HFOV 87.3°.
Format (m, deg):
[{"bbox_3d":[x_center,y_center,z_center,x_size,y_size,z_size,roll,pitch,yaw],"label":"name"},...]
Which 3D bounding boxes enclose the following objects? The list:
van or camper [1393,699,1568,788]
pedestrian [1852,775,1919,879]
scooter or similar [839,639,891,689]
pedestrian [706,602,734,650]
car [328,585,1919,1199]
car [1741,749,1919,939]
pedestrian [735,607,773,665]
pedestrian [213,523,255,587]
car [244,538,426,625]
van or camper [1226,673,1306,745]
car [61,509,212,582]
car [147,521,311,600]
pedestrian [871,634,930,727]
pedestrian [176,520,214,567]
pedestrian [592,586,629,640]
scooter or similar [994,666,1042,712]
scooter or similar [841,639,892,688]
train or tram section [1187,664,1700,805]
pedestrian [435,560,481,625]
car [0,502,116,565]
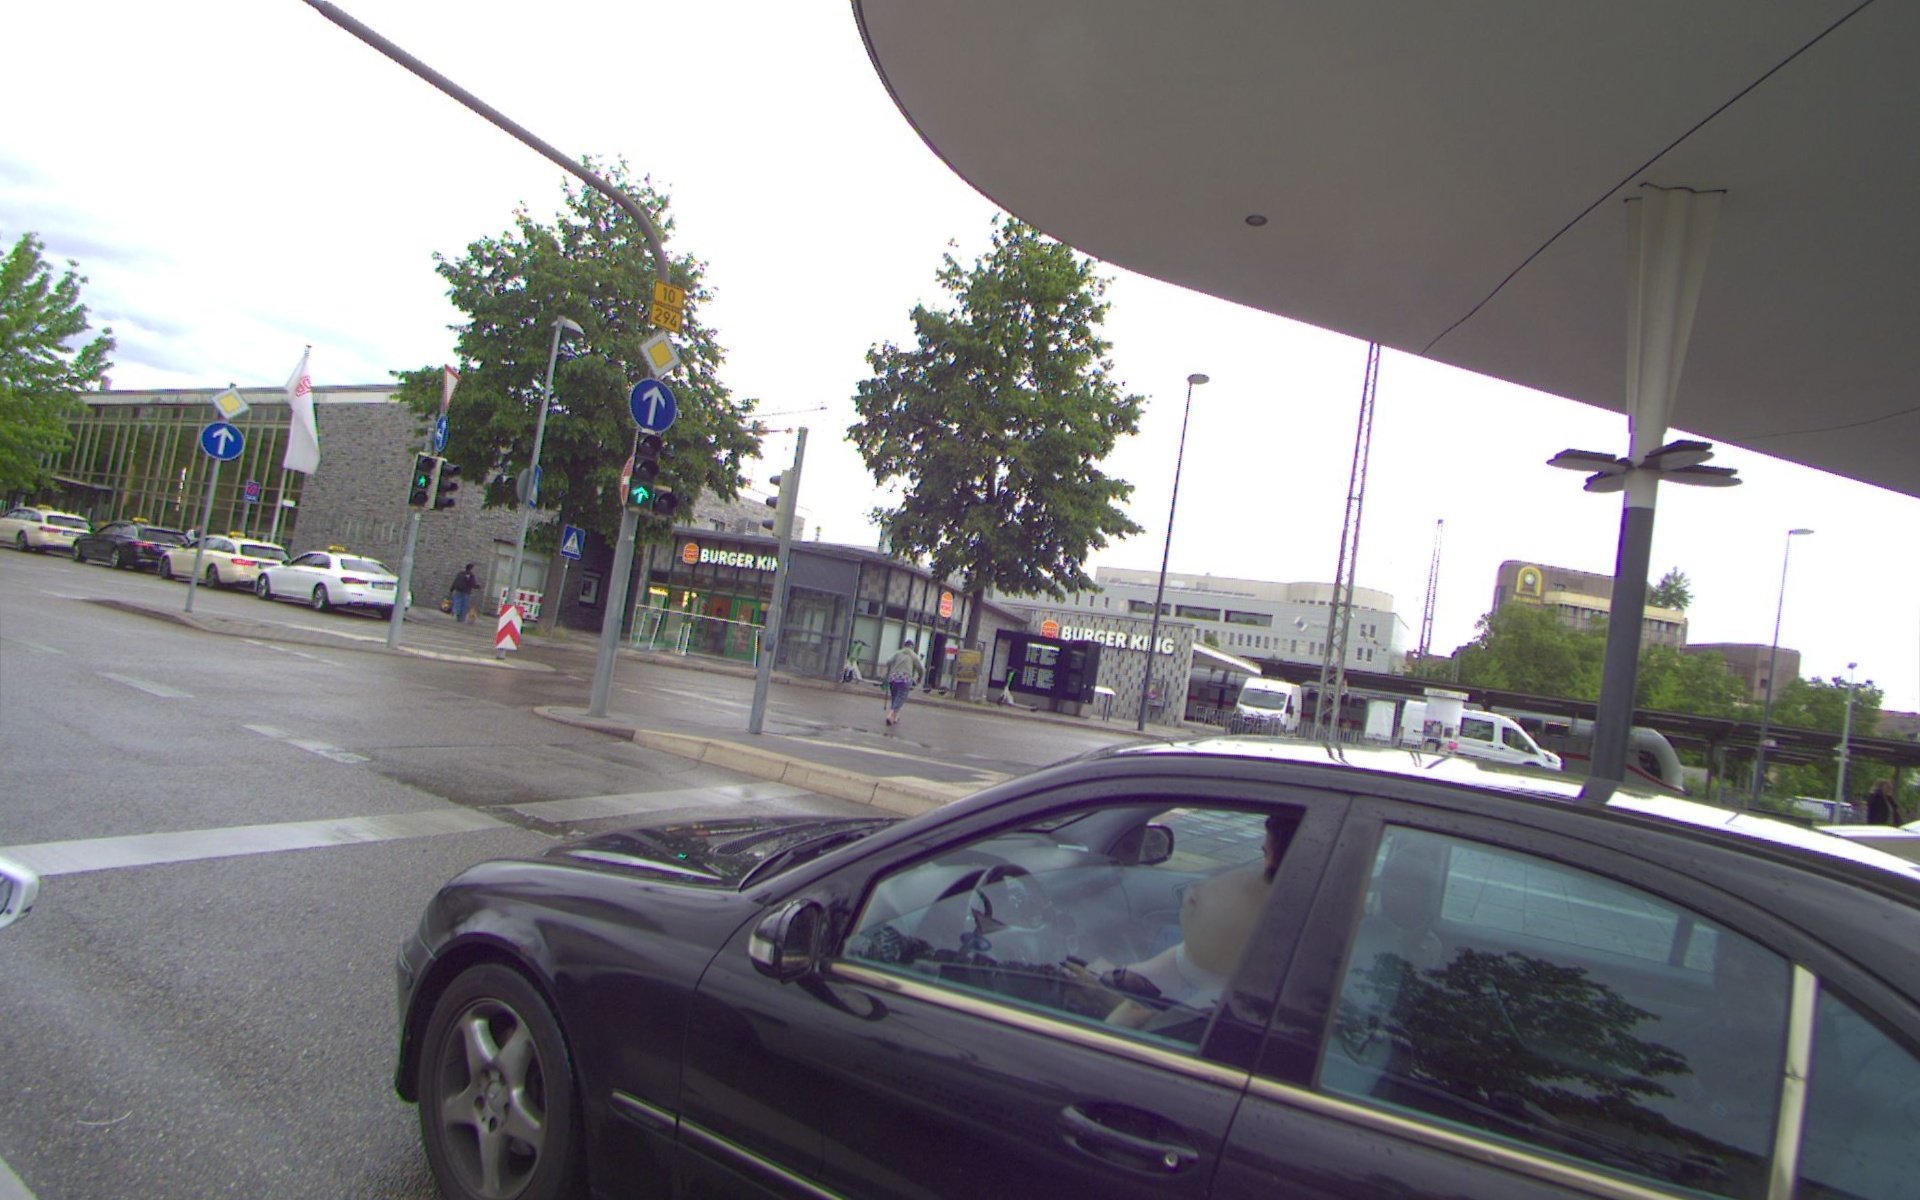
[{"bbox_3d":[20.359,5.558,39.490,5.767,2.461,1.997,6,-2,32],"label":"van or camper"},{"bbox_3d":[15.921,3.871,17.270,0.638,1.613,0.732,8,-1,-44],"label":"pedestrian"},{"bbox_3d":[-2.614,1.753,27.700,1.280,1.196,0.333,7,-1,-2],"label":"scooter or similar"},{"bbox_3d":[-8.843,0.944,37.002,0.713,1.686,0.794,7,-1,-20],"label":"pedestrian"},{"bbox_3d":[0.807,0.985,2.079,4.378,1.482,1.698,6,-2,32],"label":"car"},{"bbox_3d":[11.320,2.831,10.641,4.466,1.700,1.997,6,-2,32],"label":"car"},{"bbox_3d":[-6.518,1.132,31.778,0.763,1.690,0.645,11,6,9],"label":"pedestrian"},{"bbox_3d":[-26.701,-1.654,36.996,0.710,2.189,0.797,7,-1,25],"label":"pedestrian"},{"bbox_3d":[-15.979,-0.493,25.638,4.822,1.618,1.883,6,-2,32],"label":"car"},{"bbox_3d":[12.620,4.409,41.203,2.127,2.461,5.865,7,-2,25],"label":"van or camper"},{"bbox_3d":[-26.074,-1.727,31.815,4.875,1.616,2.000,7,-3,31],"label":"car"},{"bbox_3d":[-20.878,-1.157,28.690,4.876,1.618,1.997,7,-2,32],"label":"car"},{"bbox_3d":[-1.062,1.438,18.081,0.824,1.547,0.638,7,-1,2],"label":"pedestrian"},{"bbox_3d":[-28.826,-2.124,37.912,0.698,1.598,0.770,7,-1,28],"label":"pedestrian"},{"bbox_3d":[-11.824,0.432,34.059,0.786,1.686,0.719,6,-1,42],"label":"pedestrian"},{"bbox_3d":[1.714,2.626,29.724,1.280,1.196,0.333,7,-1,-2],"label":"scooter or similar"},{"bbox_3d":[-2.620,1.777,28.302,1.280,1.196,0.333,7,-1,-2],"label":"scooter or similar"},{"bbox_3d":[29.567,8.142,65.085,28.822,4.230,4.600,6,-2,32],"label":"train or tram section"},{"bbox_3d":[-13.591,-0.191,27.254,0.785,1.645,0.721,7,-1,-13],"label":"pedestrian"},{"bbox_3d":[-31.791,-2.378,34.721,4.868,1.618,2.000,7,-2,24],"label":"car"}]
